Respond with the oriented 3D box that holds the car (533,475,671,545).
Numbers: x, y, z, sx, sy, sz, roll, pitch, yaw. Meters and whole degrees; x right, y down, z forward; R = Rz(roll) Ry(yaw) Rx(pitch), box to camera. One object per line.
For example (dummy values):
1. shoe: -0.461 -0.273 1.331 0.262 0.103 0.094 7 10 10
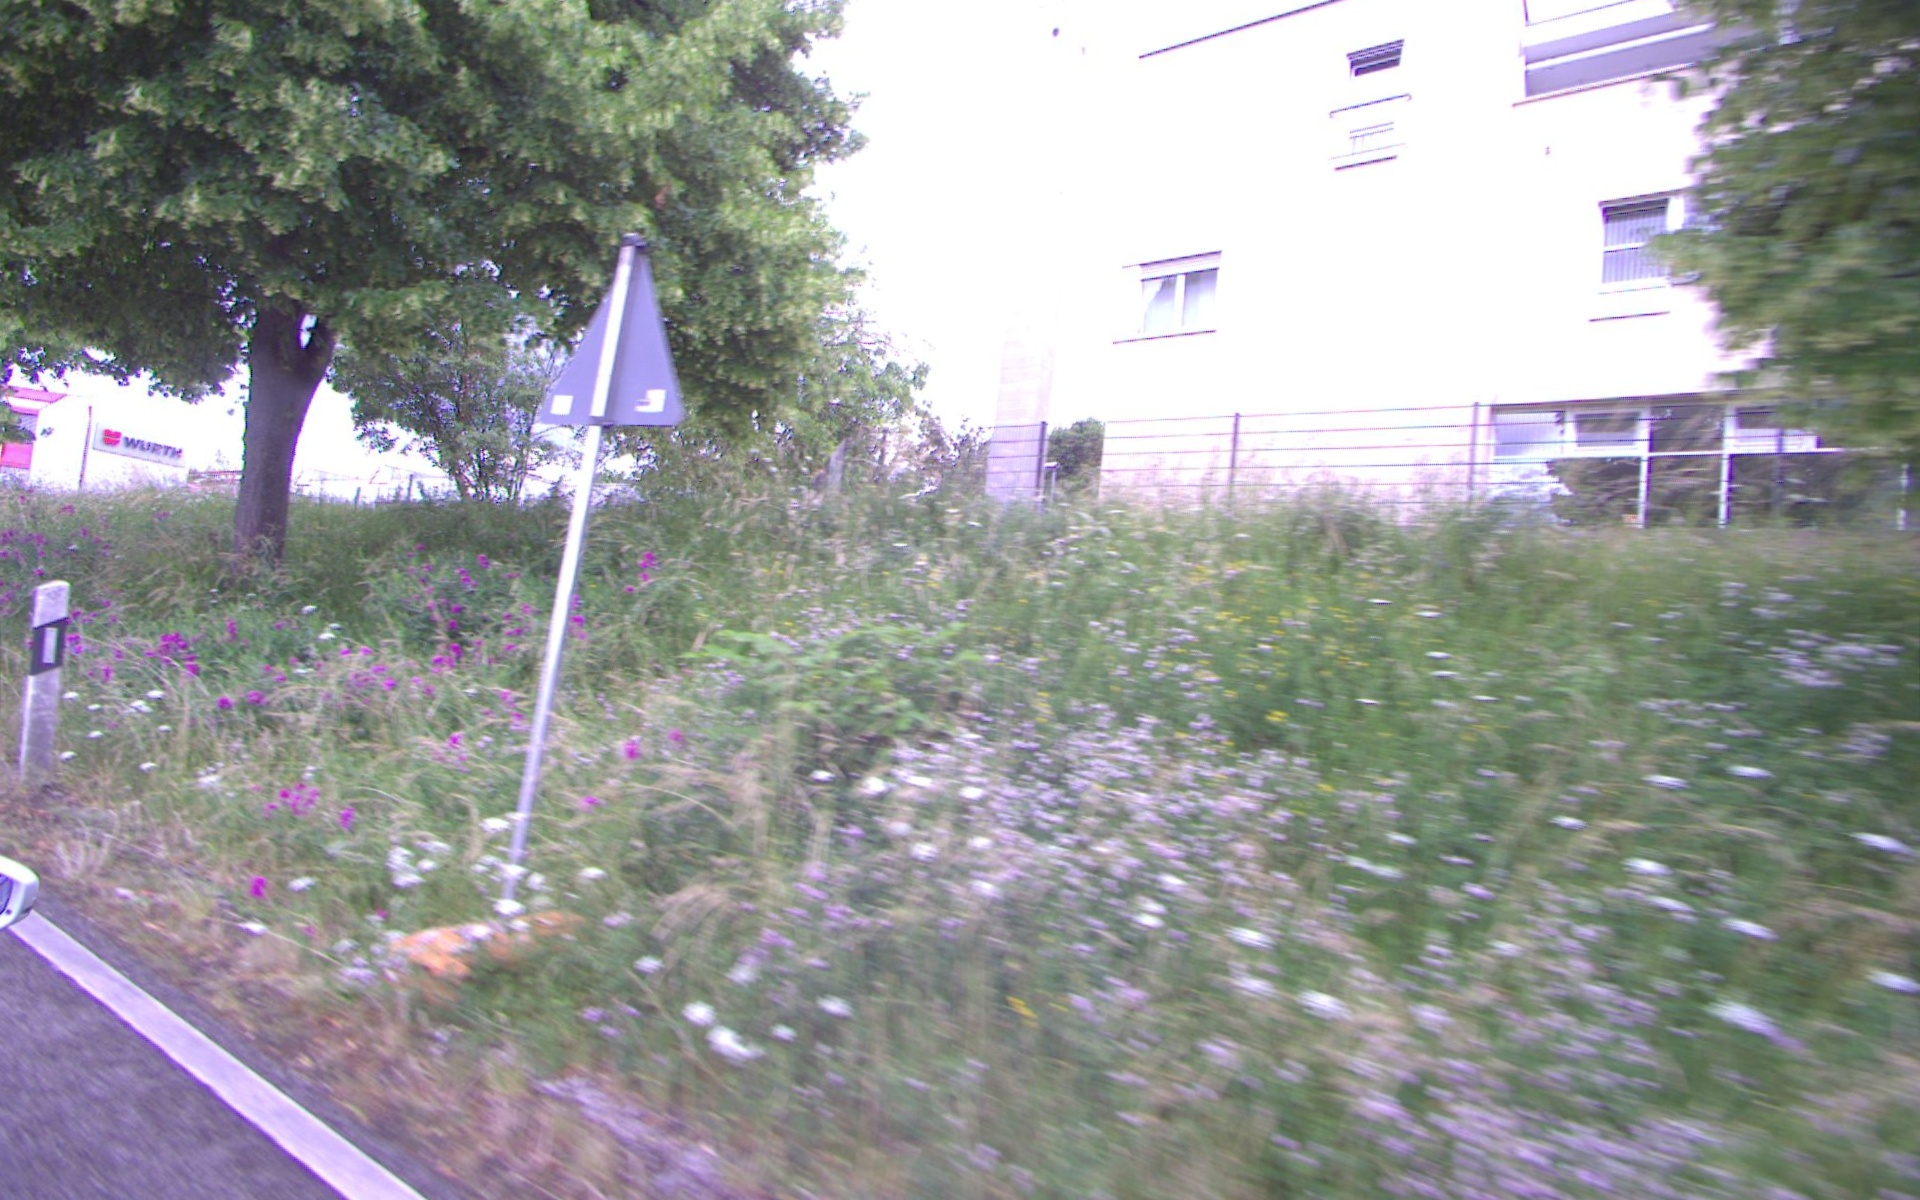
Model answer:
1. car: -11.893 -2.979 33.637 1.728 1.498 3.933 6 -4 34
